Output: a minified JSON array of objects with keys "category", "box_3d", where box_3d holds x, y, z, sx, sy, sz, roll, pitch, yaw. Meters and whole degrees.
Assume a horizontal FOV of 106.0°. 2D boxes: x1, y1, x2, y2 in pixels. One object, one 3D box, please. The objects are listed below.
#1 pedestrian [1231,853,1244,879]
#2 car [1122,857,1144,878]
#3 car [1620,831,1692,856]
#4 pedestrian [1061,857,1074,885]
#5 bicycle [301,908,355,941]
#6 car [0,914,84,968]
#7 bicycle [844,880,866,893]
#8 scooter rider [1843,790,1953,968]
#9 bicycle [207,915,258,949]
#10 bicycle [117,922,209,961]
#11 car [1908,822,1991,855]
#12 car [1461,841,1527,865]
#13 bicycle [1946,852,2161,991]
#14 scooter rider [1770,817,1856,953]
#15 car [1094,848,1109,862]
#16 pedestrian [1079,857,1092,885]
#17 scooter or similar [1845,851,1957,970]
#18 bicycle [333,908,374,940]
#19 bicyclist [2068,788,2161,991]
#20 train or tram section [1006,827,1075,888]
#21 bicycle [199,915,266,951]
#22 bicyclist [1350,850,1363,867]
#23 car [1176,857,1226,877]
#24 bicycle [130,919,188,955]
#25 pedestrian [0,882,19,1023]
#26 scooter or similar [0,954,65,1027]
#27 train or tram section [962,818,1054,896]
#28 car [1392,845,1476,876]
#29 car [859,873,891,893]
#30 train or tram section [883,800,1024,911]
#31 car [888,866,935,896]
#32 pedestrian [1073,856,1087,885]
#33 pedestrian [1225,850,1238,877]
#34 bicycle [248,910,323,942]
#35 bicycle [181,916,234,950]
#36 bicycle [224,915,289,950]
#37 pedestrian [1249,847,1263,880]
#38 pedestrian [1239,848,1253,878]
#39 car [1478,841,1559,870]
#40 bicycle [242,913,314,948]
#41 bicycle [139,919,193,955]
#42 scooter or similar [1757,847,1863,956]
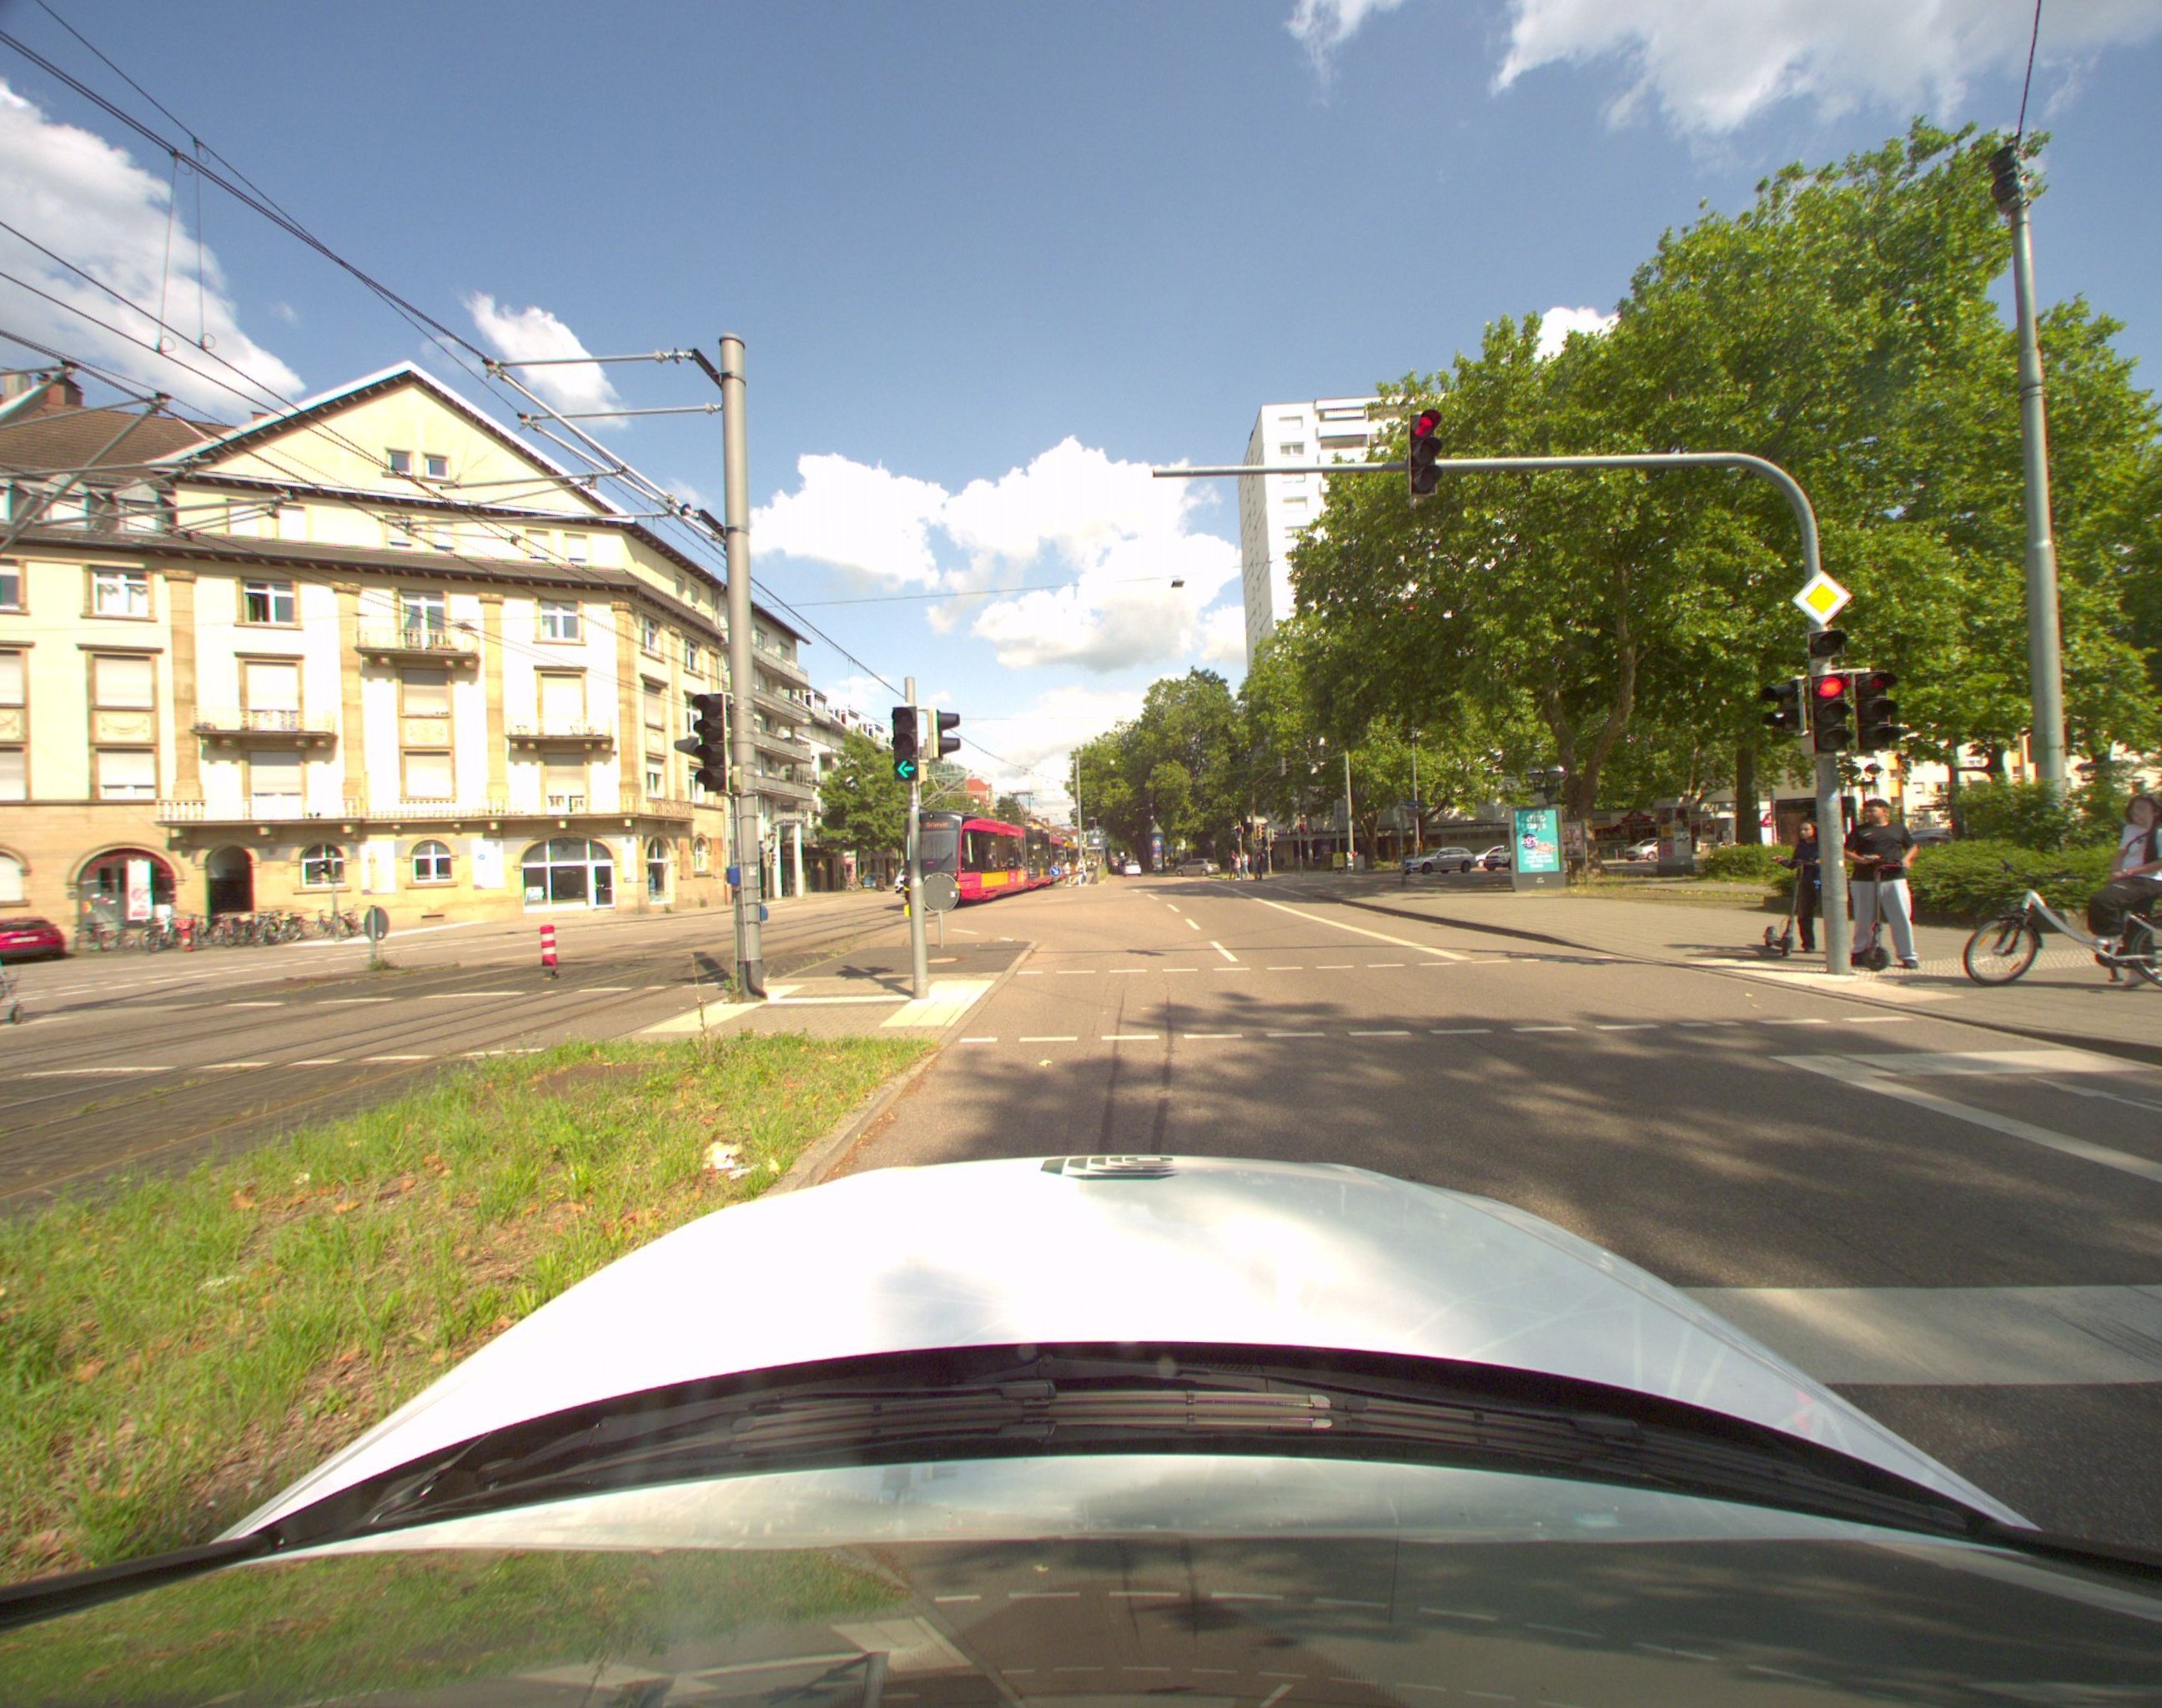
[{"category":"pedestrian","box_3d":[9.586,0.728,49.819,0.512,1.597,0.553,-3,-1,-19]},{"category":"car","box_3d":[4.996,1.297,79.213,1.986,2.014,4.001,-2,-1,2]},{"category":"car","box_3d":[40.286,-0.709,57.127,3.832,1.490,1.857,-3,0,-6]},{"category":"pedestrian","box_3d":[-0.813,1.019,49.300,0.666,1.703,0.649,-3,-1,5]},{"category":"bicycle","box_3d":[-28.631,2.662,30.997,0.609,1.018,1.868,-2,1,-13]},{"category":"car","box_3d":[-34.972,2.829,26.898,3.948,1.441,1.981,-1,1,31]},{"category":"bicycle","box_3d":[-18.957,2.761,68.263,1.684,0.986,0.497,-3,-1,-1]},{"category":"scooter rider","box_3d":[8.719,0.263,8.720,0.538,1.810,0.684,-5,-1,28]},{"category":"bicycle","box_3d":[-31.212,2.842,30.001,0.541,1.018,1.914,-3,2,-23]},{"category":"bicycle","box_3d":[-30.699,2.915,27.283,1.938,1.018,0.534,-3,2,-39]},{"category":"car","box_3d":[47.297,-0.850,44.354,4.003,1.501,1.678,-4,0,-22]},{"category":"car","box_3d":[28.860,-0.054,56.969,3.650,1.484,1.735,-3,-1,-2]},{"category":"bicycle","box_3d":[8.845,0.589,7.140,1.610,1.112,0.510,-6,-2,42]},{"category":"scooter rider","box_3d":[8.958,0.374,9.976,0.438,1.593,0.541,-4,-1,-20]},{"category":"car","box_3d":[2.893,0.154,114.456,1.806,1.804,4.006,-3,0,5]},{"category":"pedestrian","box_3d":[0.310,1.081,51.276,0.666,1.703,0.649,-3,-1,5]},{"category":"scooter or similar","box_3d":[8.754,0.589,8.729,0.538,1.171,0.882,-5,-1,28]},{"category":"bicycle","box_3d":[-27.880,2.651,31.241,0.611,1.018,1.861,-3,1,-25]},{"category":"bicyclist","box_3d":[9.033,0.290,6.952,0.576,1.668,0.510,-6,-2,41]},{"category":"train or tram section","box_3d":[-2.549,0.238,55.676,2.792,3.561,12.174,-3,0,5]},{"category":"bicycle","box_3d":[-30.239,2.809,29.075,0.538,1.018,1.923,-2,2,-8]},{"category":"bicyclist","box_3d":[20.370,0.349,60.141,0.803,1.251,0.485,-1,-1,30]},{"category":"car","box_3d":[9.751,1.065,66.251,3.559,1.453,1.765,-3,-1,42]},{"category":"bicycle","box_3d":[-32.774,2.926,28.967,0.541,1.018,1.914,-3,2,-23]},{"category":"pedestrian","box_3d":[-13.622,1.226,9.935,0.525,1.732,0.557,-3,-1,-3]},{"category":"scooter or similar","box_3d":[-13.192,1.673,9.943,0.836,0.804,0.553,-3,-1,-2]},{"category":"train or tram section","box_3d":[-3.640,0.173,44.076,2.792,3.561,11.197,-3,0,5]},{"category":"car","box_3d":[19.714,0.364,45.494,3.993,1.490,1.852,-3,-1,-15]},{"category":"car","box_3d":[-19.084,2.668,75.762,1.840,1.789,4.001,0,-1,2]},{"category":"train or tram section","box_3d":[-4.666,0.088,32.839,2.782,3.561,11.392,-3,0,5]},{"category":"car","box_3d":[-12.059,1.901,58.303,1.985,1.891,5.176,-3,-1,3]},{"category":"pedestrian","box_3d":[-0.052,0.994,49.198,0.666,1.703,0.649,-3,-1,5]},{"category":"pedestrian","box_3d":[9.323,0.595,50.397,0.512,1.671,0.553,-3,-1,-19]},{"category":"bicycle","box_3d":[-30.236,2.740,30.986,1.928,1.018,0.537,-3,2,-20]},{"category":"bicycle","box_3d":[-31.838,2.854,29.701,0.541,1.018,1.914,-3,2,-23]},{"category":"bicycle","box_3d":[-29.724,2.799,29.398,0.538,1.018,1.923,-2,1,-8]},{"category":"pedestrian","box_3d":[9.965,0.538,46.433,0.475,1.825,0.560,-4,-1,45]},{"category":"pedestrian","box_3d":[9.805,0.549,48.457,0.529,1.735,0.553,-3,-1,-19]},{"category":"car","box_3d":[25.707,0.070,47.878,4.075,1.490,1.849,-3,-1,-19]},{"category":"bicycle","box_3d":[-28.945,2.749,29.383,0.598,1.018,1.879,-2,1,4]},{"category":"bicycle","box_3d":[-31.866,2.865,28.397,0.541,1.018,1.912,-3,2,-27]},{"category":"scooter or similar","box_3d":[8.896,0.562,9.949,0.877,1.226,0.541,-4,-1,-20]}]
